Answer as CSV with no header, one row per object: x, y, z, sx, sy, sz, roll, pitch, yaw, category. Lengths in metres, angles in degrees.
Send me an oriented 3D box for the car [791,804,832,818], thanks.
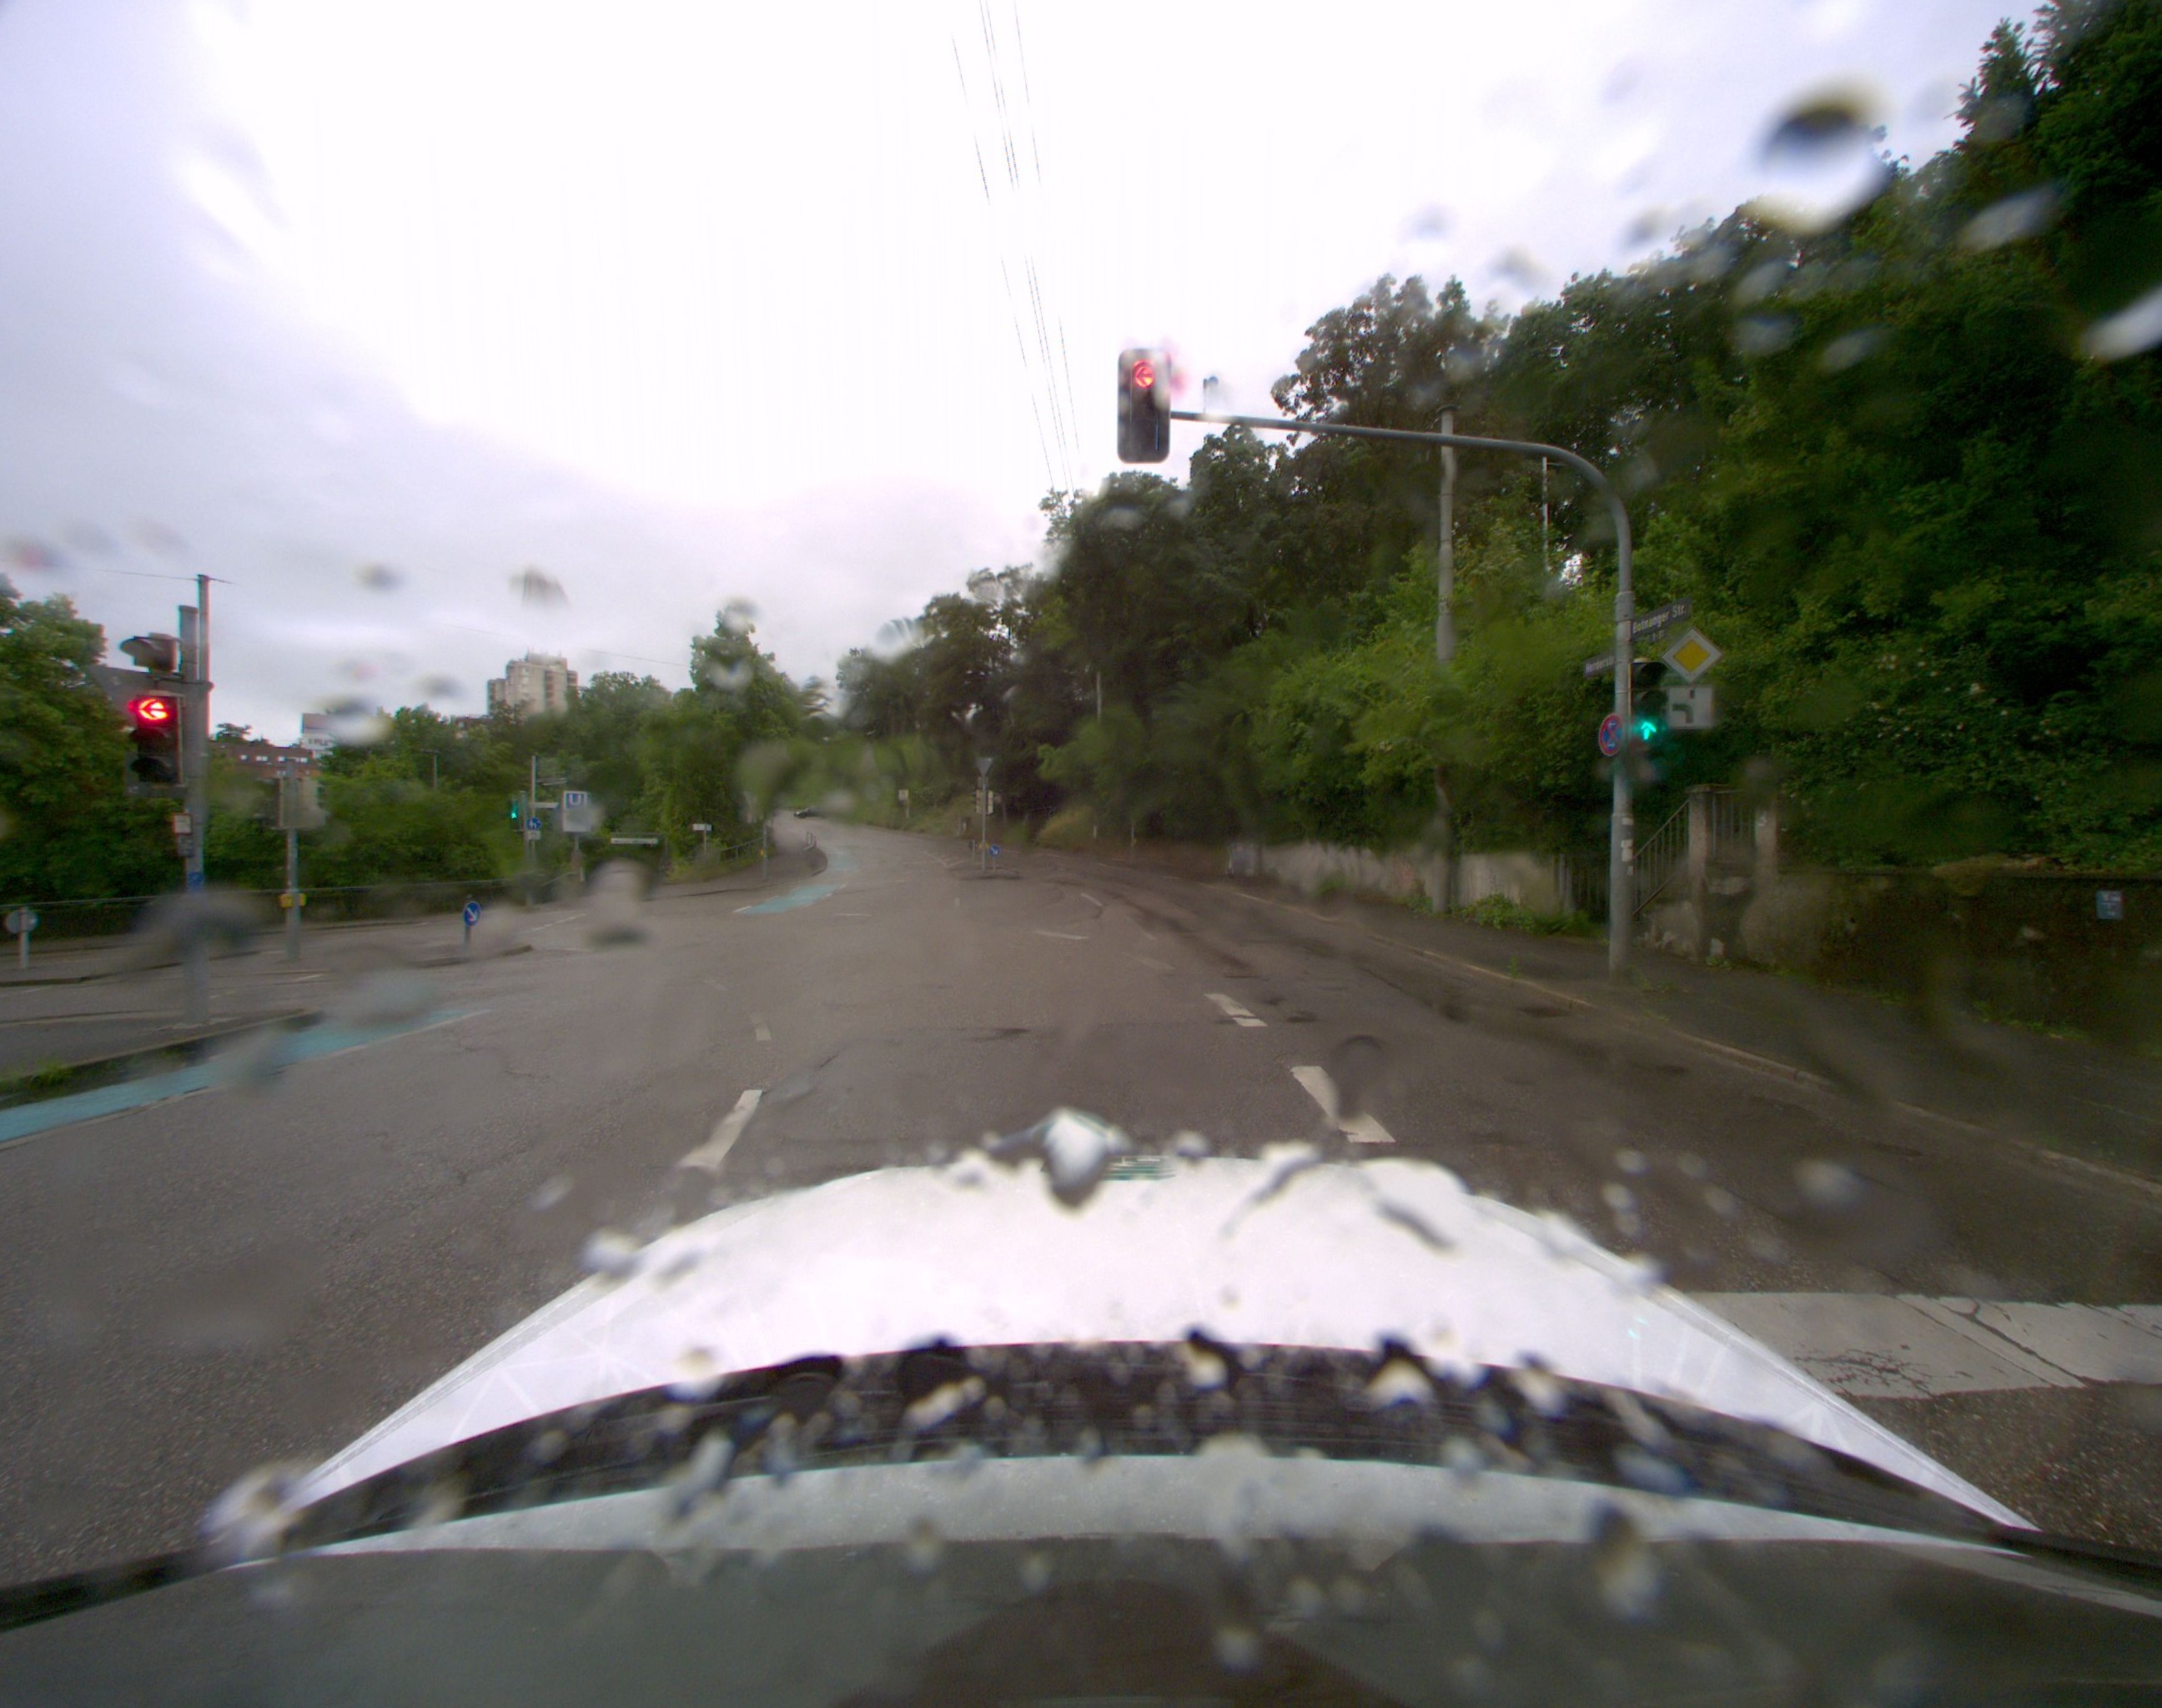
-30.833,-4.925,93.179,4.409,1.511,1.948,-1,3,-24,car

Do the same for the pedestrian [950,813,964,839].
-8.682,-1.973,57.149,0.882,1.736,0.861,0,-1,-15,pedestrian

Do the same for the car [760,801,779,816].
-45.084,-6.631,118.043,2.070,2.006,4.790,-1,1,-15,car

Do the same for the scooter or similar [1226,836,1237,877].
4.902,0.066,26.517,0.320,1.279,0.754,-1,2,10,scooter or similar
